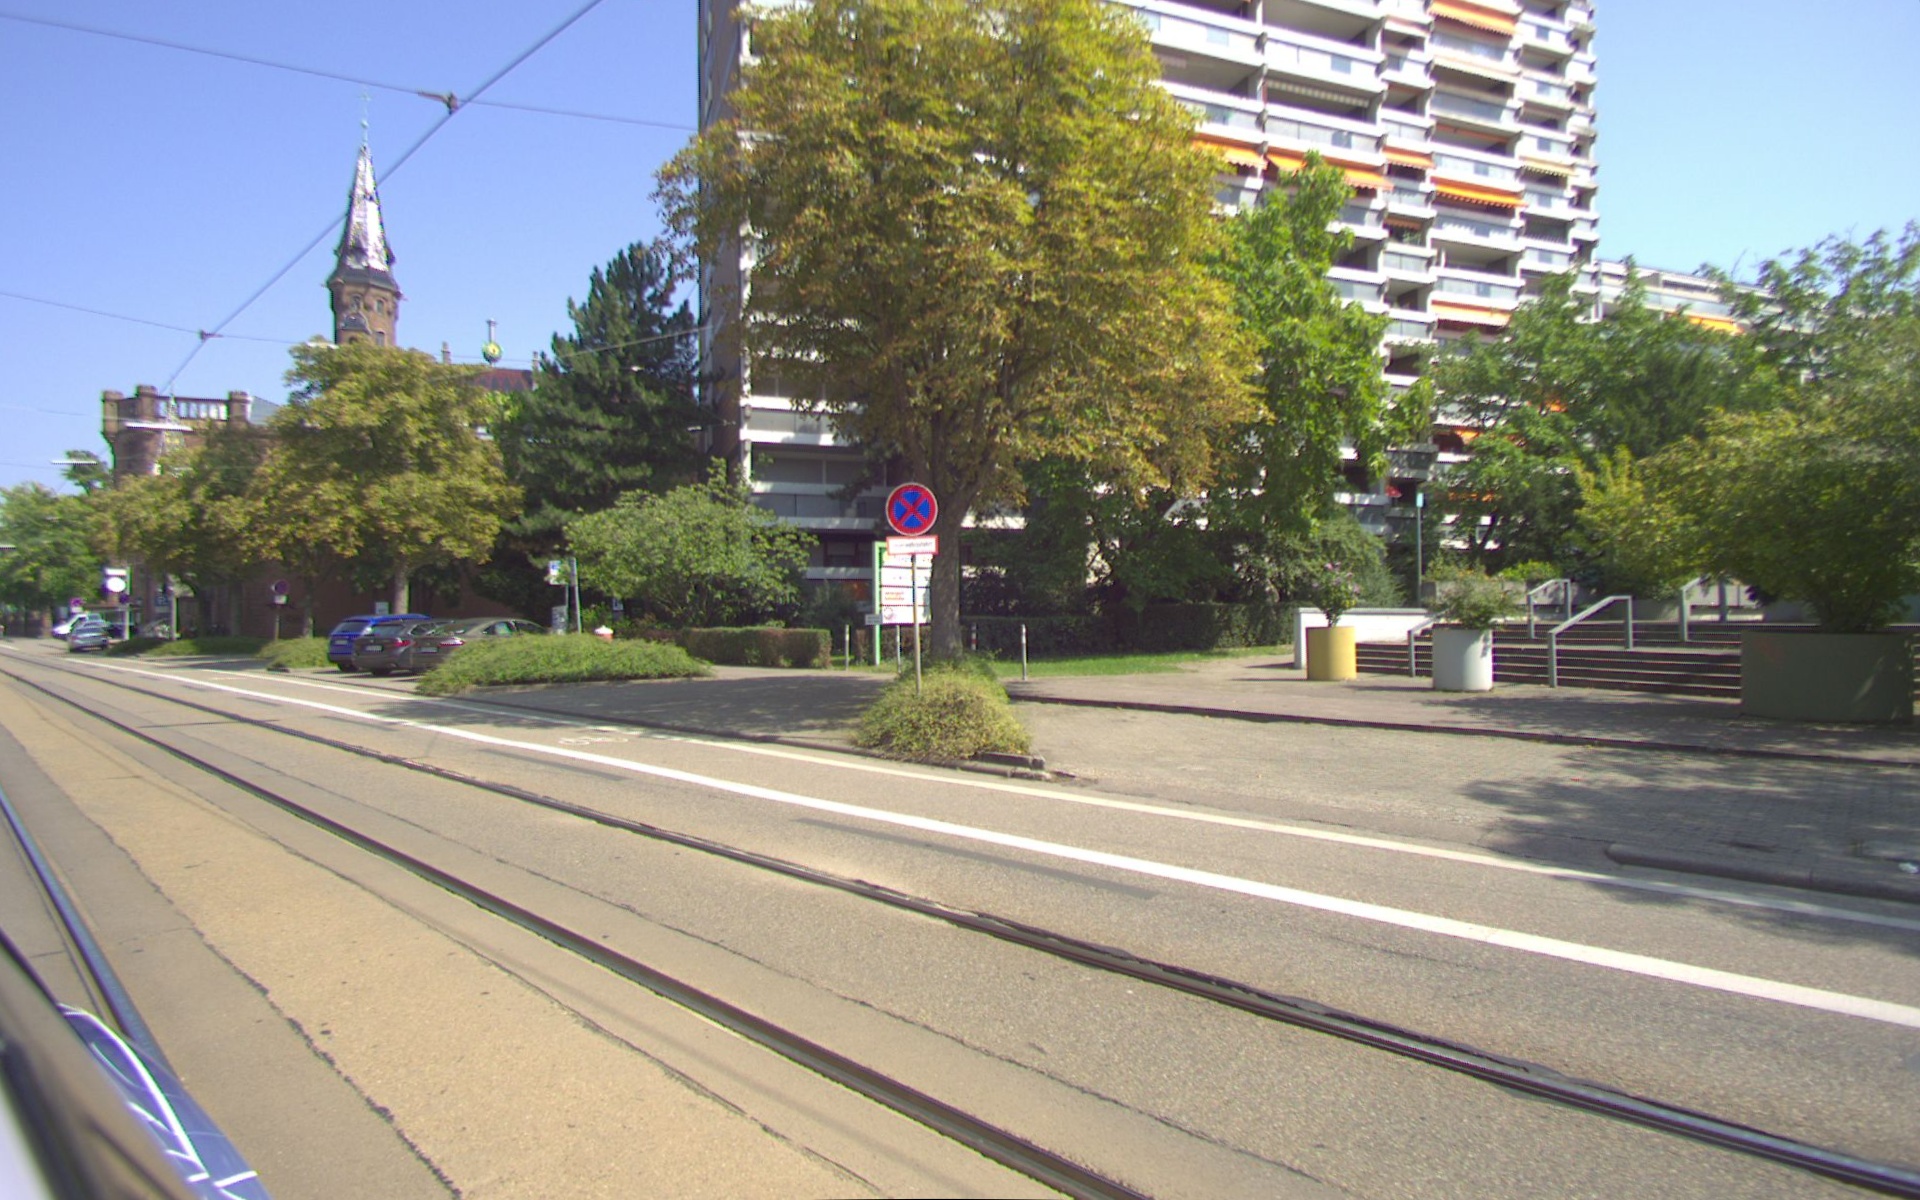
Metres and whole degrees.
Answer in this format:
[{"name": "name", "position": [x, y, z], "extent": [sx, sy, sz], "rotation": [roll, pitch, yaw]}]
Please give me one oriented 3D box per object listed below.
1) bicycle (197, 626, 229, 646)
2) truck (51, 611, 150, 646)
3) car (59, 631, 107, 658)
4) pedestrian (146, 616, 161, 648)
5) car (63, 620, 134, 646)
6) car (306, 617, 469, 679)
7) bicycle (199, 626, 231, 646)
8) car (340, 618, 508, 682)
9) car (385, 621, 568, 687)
[{"name": "bicycle", "position": [-44.721, 2.151, 60.593], "extent": [0.376, 1.070, 1.433], "rotation": [-2, 3, 33]}, {"name": "truck", "position": [-76.436, 2.522, 90.111], "extent": [2.318, 2.543, 6.424], "rotation": [-2, 2, 43]}, {"name": "car", "position": [-52.252, 2.645, 60.297], "extent": [1.912, 1.513, 4.517], "rotation": [1, -2, -44]}, {"name": "pedestrian", "position": [-50.429, 2.022, 63.272], "extent": [0.498, 1.996, 0.519], "rotation": [0, -1, -3]}, {"name": "car", "position": [-72.621, 2.737, 85.359], "extent": [4.347, 1.811, 2.001], "rotation": [-5, 2, -45]}, {"name": "car", "position": [-16.724, 1.356, 29.794], "extent": [1.828, 1.660, 3.973], "rotation": [-1, -1, 20]}, {"name": "bicycle", "position": [-44.455, 2.144, 60.406], "extent": [0.376, 1.070, 1.433], "rotation": [-2, 3, 33]}, {"name": "car", "position": [-14.411, 1.303, 27.460], "extent": [1.765, 1.582, 3.979], "rotation": [-1, -1, 16]}, {"name": "car", "position": [-12.046, 1.298, 25.553], "extent": [1.765, 1.508, 4.272], "rotation": [-1, -1, 17]}]
